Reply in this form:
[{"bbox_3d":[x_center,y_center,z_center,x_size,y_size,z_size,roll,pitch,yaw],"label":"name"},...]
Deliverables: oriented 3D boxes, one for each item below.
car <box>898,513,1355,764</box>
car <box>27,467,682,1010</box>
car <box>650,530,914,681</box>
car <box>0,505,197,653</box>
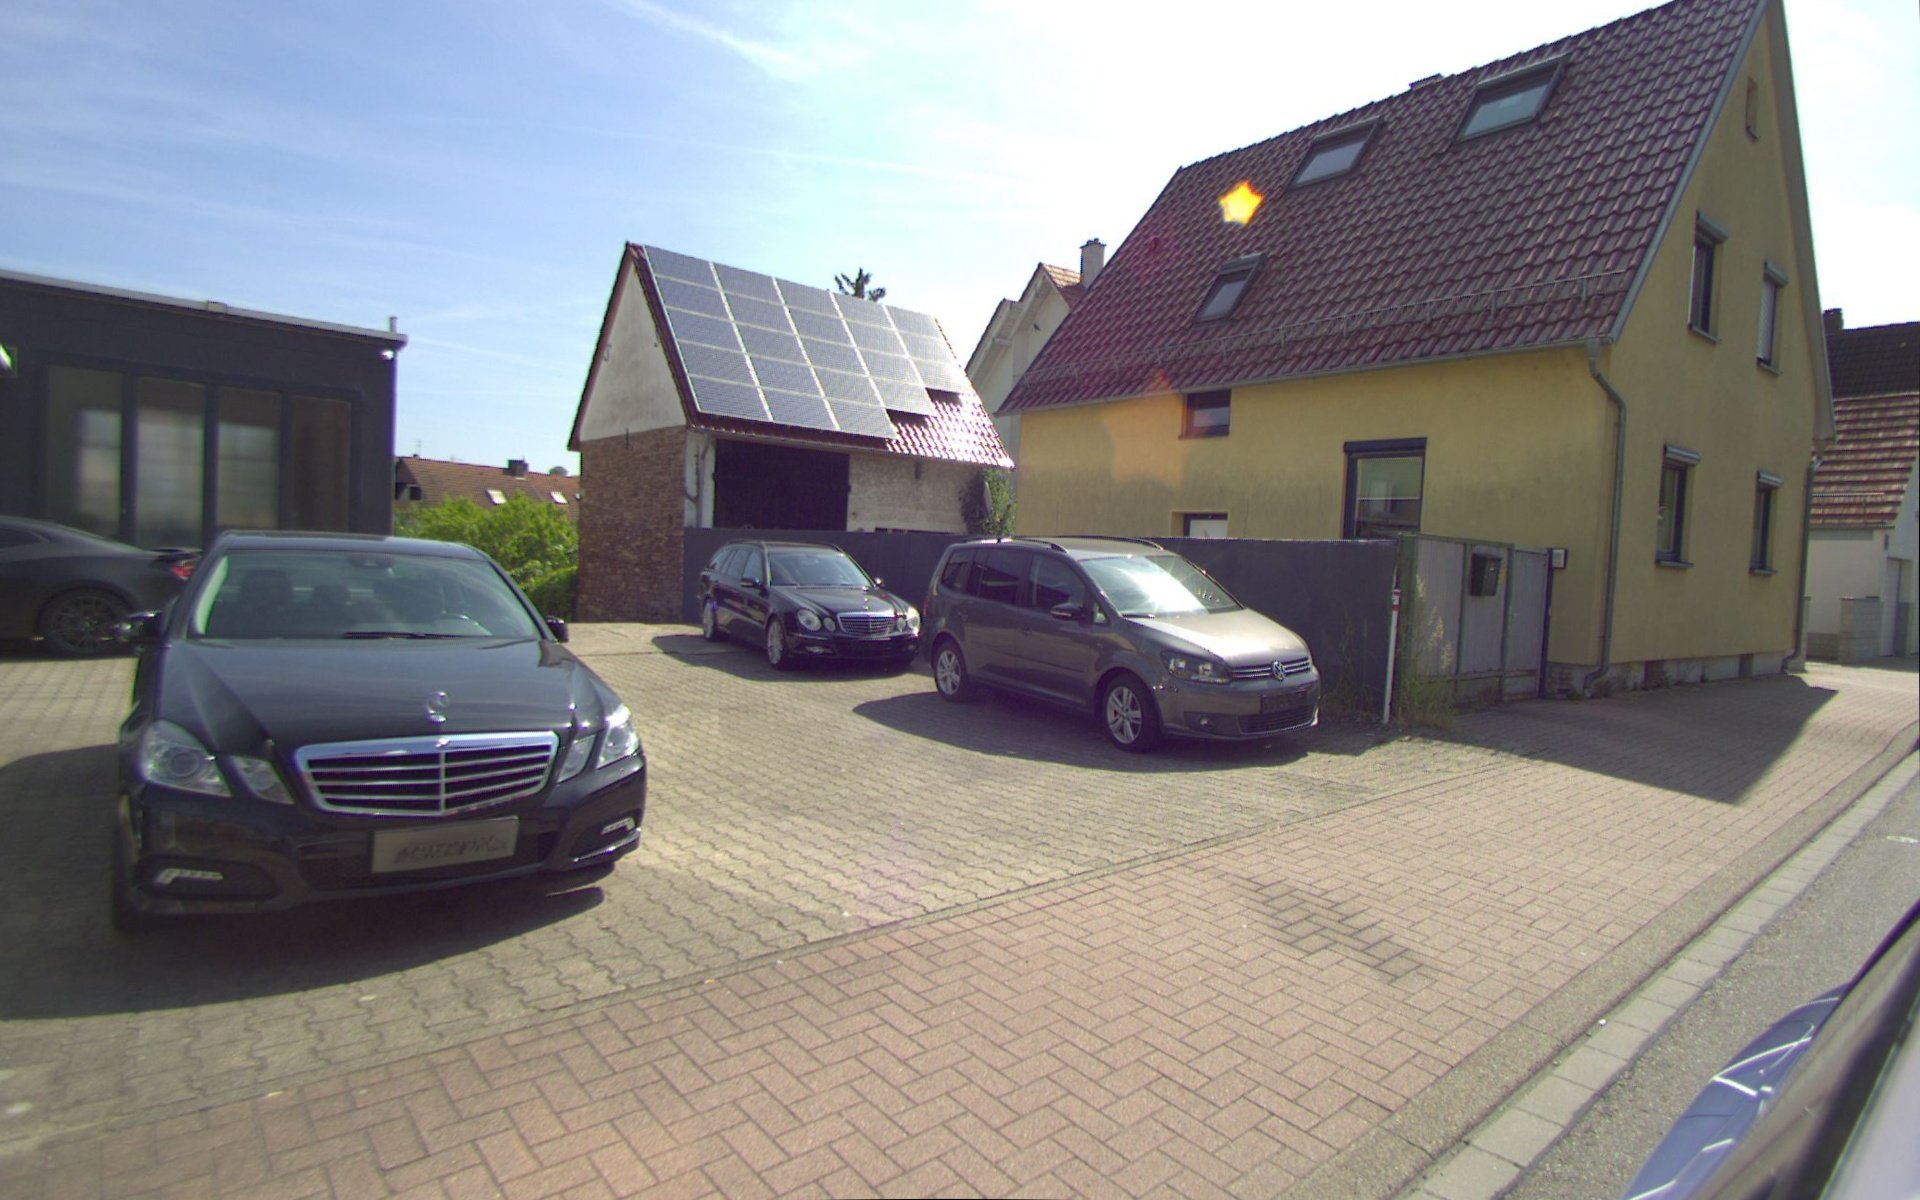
[{"bbox_3d":[1.234,0.141,9.400,1.704,1.766,4.345,-2,4,-33],"label":"car"},{"bbox_3d":[-3.235,0.287,5.252,1.875,1.516,4.650,1,2,-37],"label":"car"},{"bbox_3d":[-2.520,-0.074,13.163,1.947,1.526,4.564,0,4,-29],"label":"car"},{"bbox_3d":[-10.080,-0.239,9.370,4.669,1.363,1.761,0,3,-44],"label":"car"}]
